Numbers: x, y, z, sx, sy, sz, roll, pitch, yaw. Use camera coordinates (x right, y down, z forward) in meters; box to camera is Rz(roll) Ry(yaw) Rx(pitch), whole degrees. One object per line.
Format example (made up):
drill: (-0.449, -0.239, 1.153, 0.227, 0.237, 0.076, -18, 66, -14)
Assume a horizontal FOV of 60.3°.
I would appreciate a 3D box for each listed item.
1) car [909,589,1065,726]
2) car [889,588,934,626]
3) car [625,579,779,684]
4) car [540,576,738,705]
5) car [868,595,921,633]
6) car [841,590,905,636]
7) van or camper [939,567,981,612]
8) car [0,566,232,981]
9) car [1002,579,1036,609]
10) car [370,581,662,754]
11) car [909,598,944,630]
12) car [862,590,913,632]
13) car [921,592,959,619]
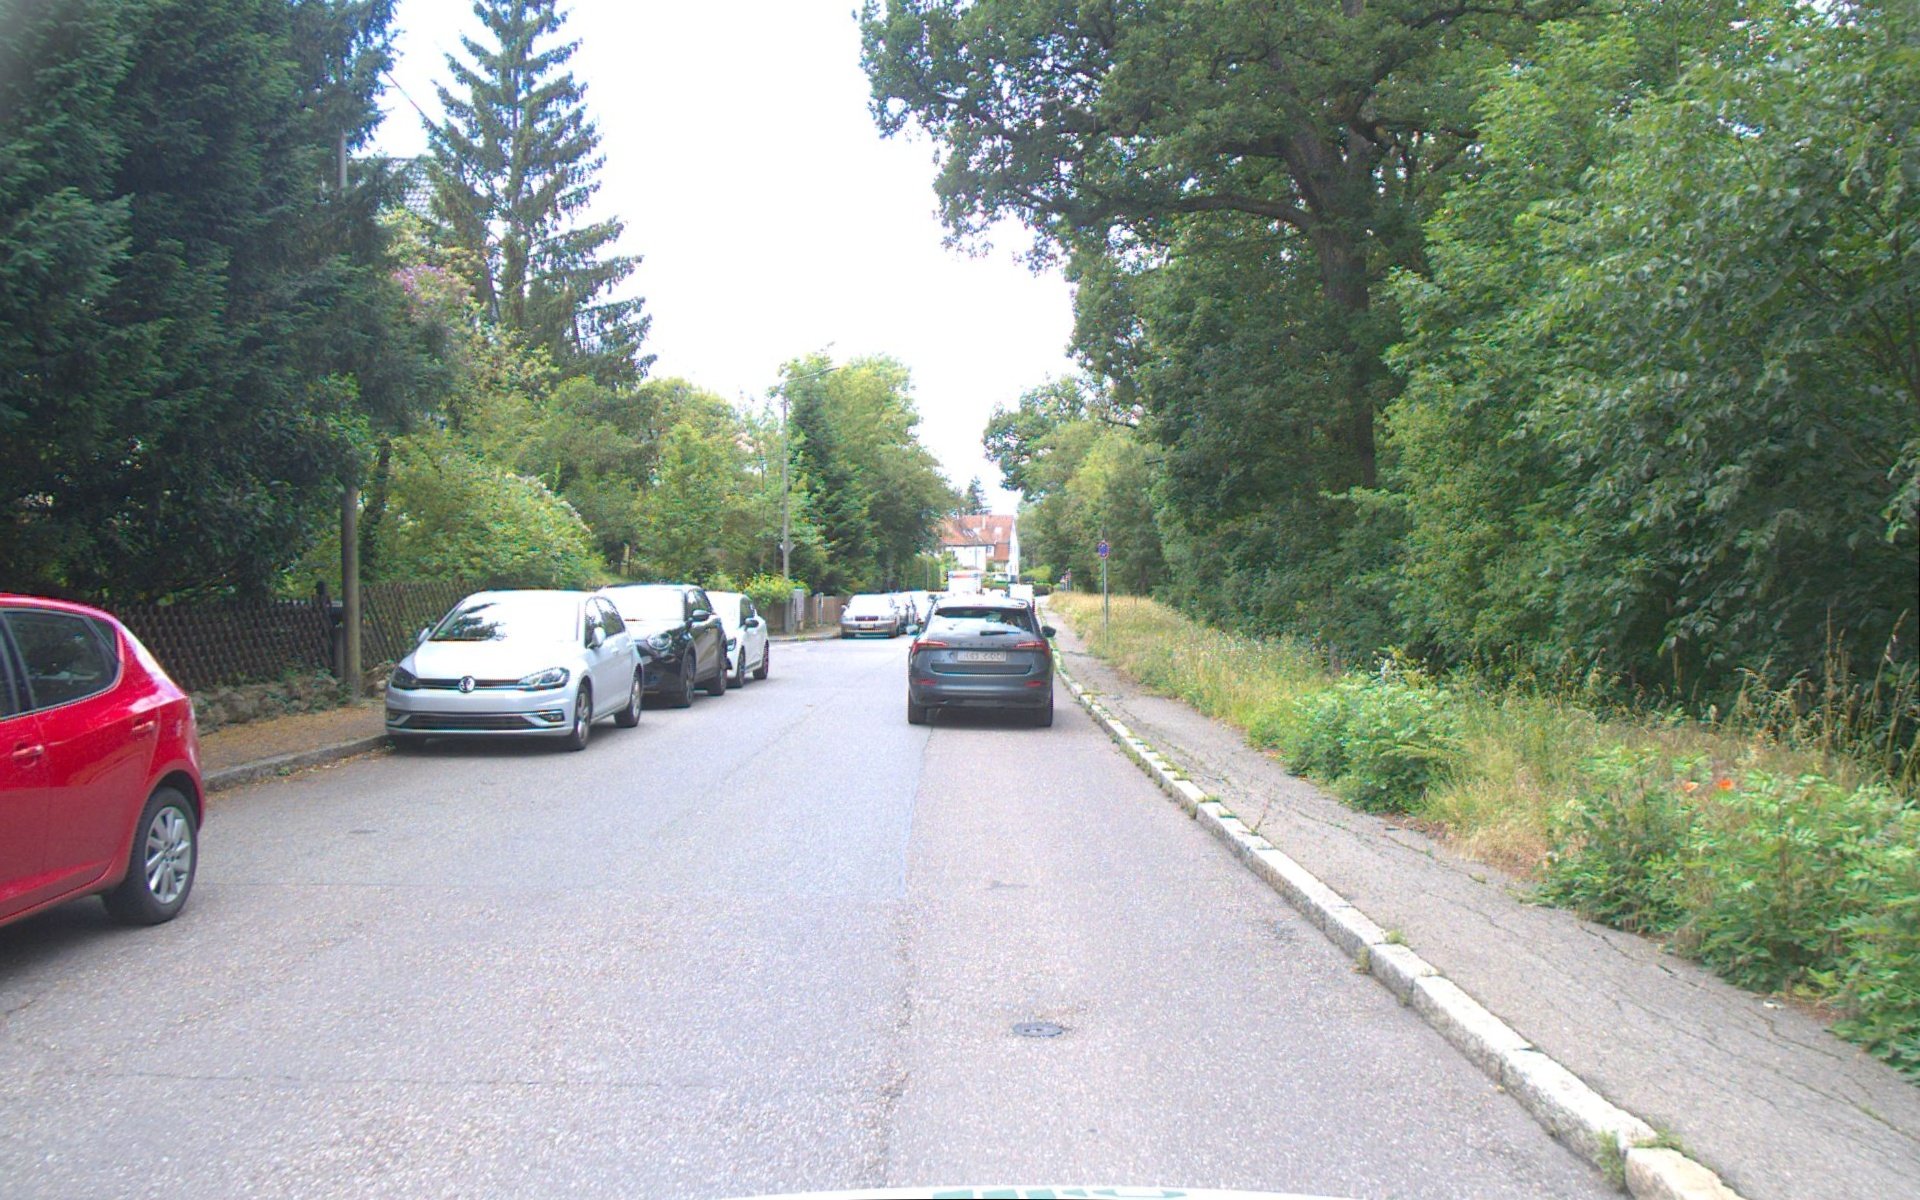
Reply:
car: (0.289, 0.620, 20.411, 1.692, 1.464, 4.323, 1, 0, 0)
car: (-2.135, 0.305, 73.870, 1.877, 1.589, 4.604, -2, 0, 0)
car: (-4.069, 0.466, 26.691, 1.747, 1.526, 4.015, 1, 0, 1)
car: (-4.160, 0.482, 22.051, 1.747, 1.526, 4.015, 1, 0, 1)
car: (-2.587, 0.549, 66.115, 1.796, 1.464, 4.118, -1, 0, 2)
car: (-2.828, 0.410, 54.756, 1.810, 1.464, 4.910, -1, 0, 1)
van or camper: (-0.049, -0.672, 111.330, 2.407, 2.945, 7.163, 0, 0, -3)
car: (-4.222, 0.593, 5.749, 1.701, 1.464, 3.787, 1, 0, 0)
car: (3.972, -0.400, 112.023, 2.029, 1.956, 4.922, 1, 0, -1)
car: (-4.239, 0.570, 16.524, 1.747, 1.464, 4.323, 1, 0, 0)
car: (-1.718, 0.719, 84.342, 1.686, 1.531, 4.006, -2, 0, -2)
car: (-2.626, 0.399, 60.944, 1.699, 1.464, 4.262, 0, 0, 0)
car: (-1.162, 0.322, 96.767, 1.760, 1.531, 4.865, -2, 0, 4)
